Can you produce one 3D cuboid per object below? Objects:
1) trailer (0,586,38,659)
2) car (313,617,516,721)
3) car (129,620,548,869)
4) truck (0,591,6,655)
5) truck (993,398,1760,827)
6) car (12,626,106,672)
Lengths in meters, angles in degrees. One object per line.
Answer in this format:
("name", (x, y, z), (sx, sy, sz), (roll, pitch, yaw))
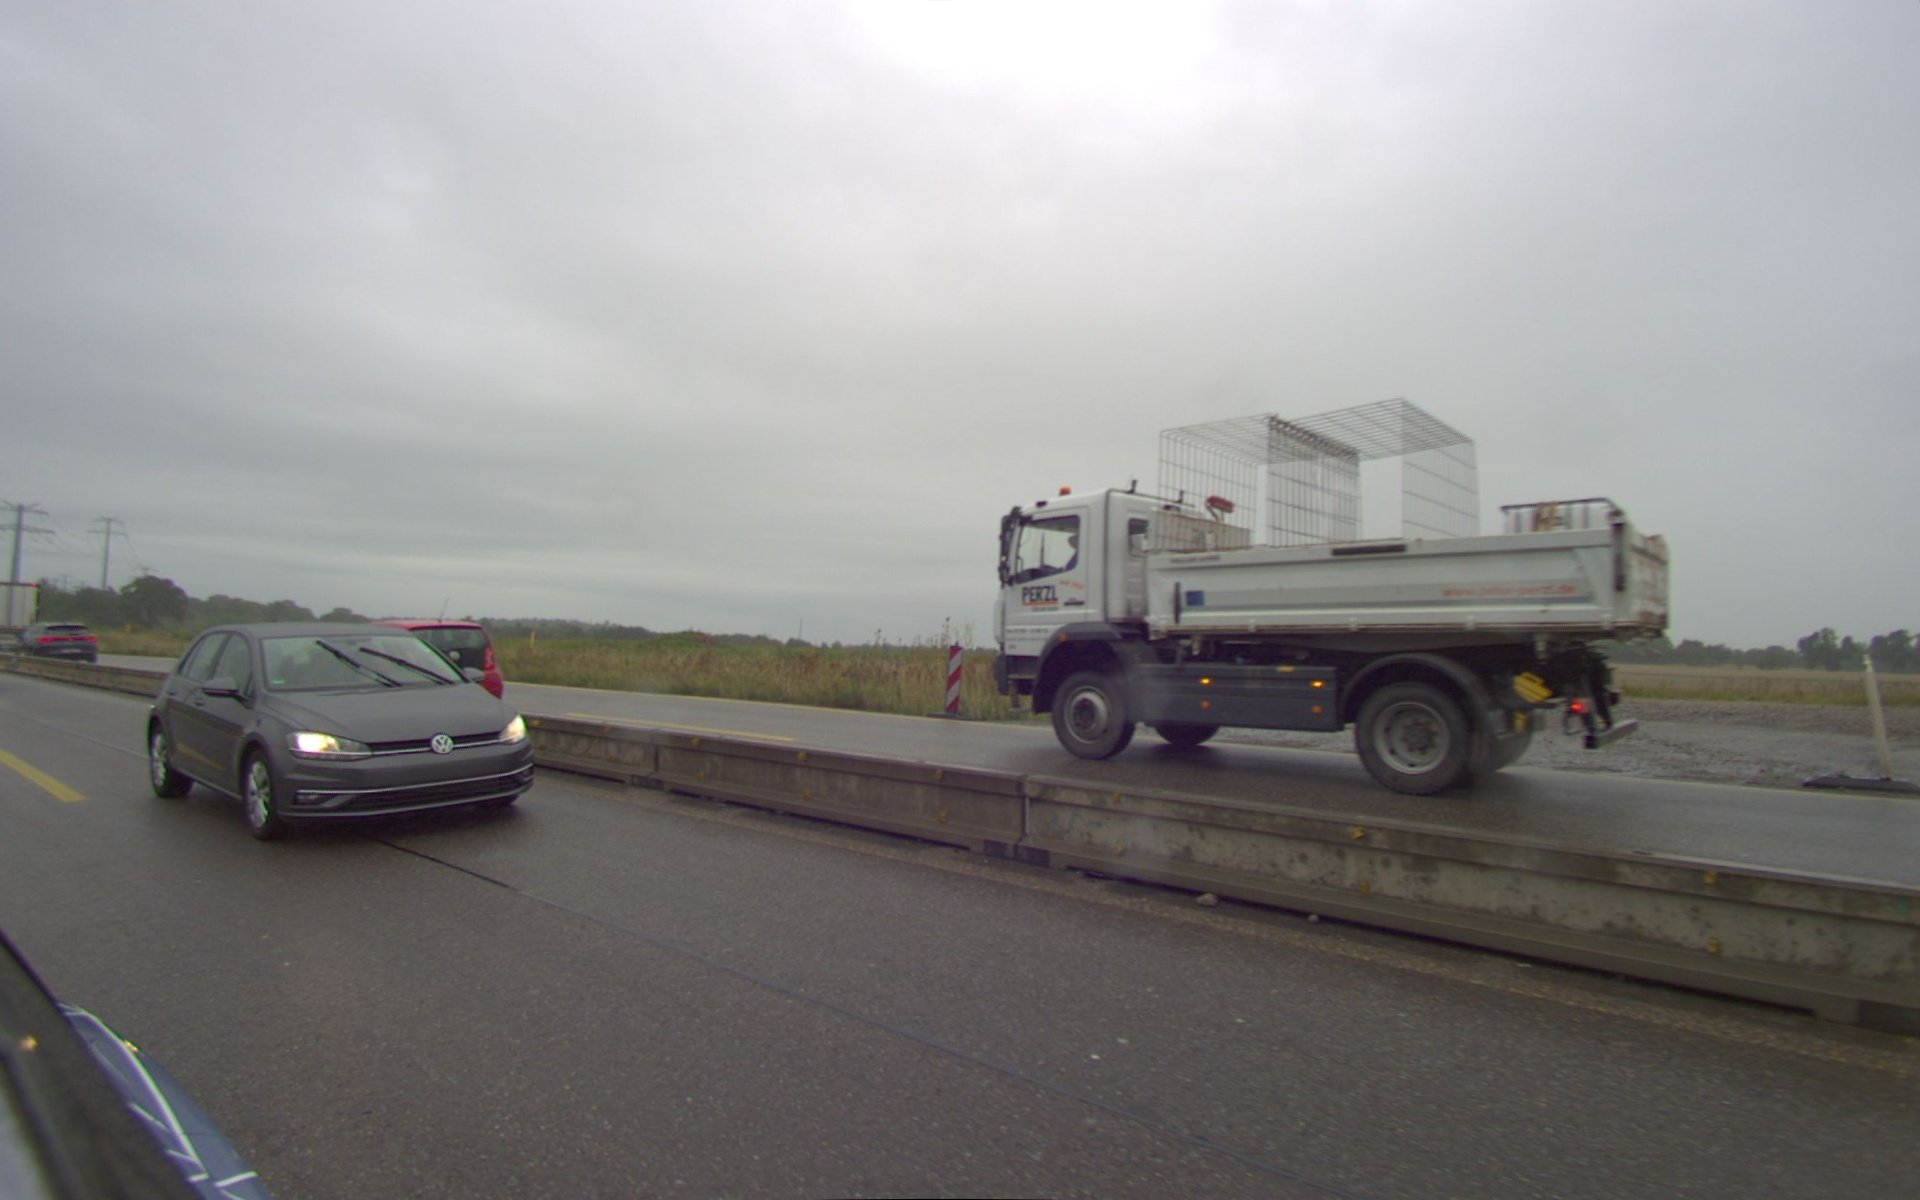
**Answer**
("trailer", (-60.981, 1.418, 63.420), (13.660, 4.232, 2.759), (-1, -2, 39))
("car", (-8.555, 0.989, 15.768), (3.590, 1.407, 1.621), (-1, -1, 41))
("car", (-5.031, 0.895, 7.958), (4.078, 1.433, 1.633), (-1, -1, 40))
("truck", (-66.494, 1.535, 67.940), (5.901, 4.213, 2.759), (-1, -2, 39))
("truck", (3.590, 0.177, 9.936), (6.545, 2.916, 2.334), (-2, -3, 41))
("car", (-31.310, 1.642, 35.115), (4.694, 1.454, 1.807), (-1, -1, 40))
